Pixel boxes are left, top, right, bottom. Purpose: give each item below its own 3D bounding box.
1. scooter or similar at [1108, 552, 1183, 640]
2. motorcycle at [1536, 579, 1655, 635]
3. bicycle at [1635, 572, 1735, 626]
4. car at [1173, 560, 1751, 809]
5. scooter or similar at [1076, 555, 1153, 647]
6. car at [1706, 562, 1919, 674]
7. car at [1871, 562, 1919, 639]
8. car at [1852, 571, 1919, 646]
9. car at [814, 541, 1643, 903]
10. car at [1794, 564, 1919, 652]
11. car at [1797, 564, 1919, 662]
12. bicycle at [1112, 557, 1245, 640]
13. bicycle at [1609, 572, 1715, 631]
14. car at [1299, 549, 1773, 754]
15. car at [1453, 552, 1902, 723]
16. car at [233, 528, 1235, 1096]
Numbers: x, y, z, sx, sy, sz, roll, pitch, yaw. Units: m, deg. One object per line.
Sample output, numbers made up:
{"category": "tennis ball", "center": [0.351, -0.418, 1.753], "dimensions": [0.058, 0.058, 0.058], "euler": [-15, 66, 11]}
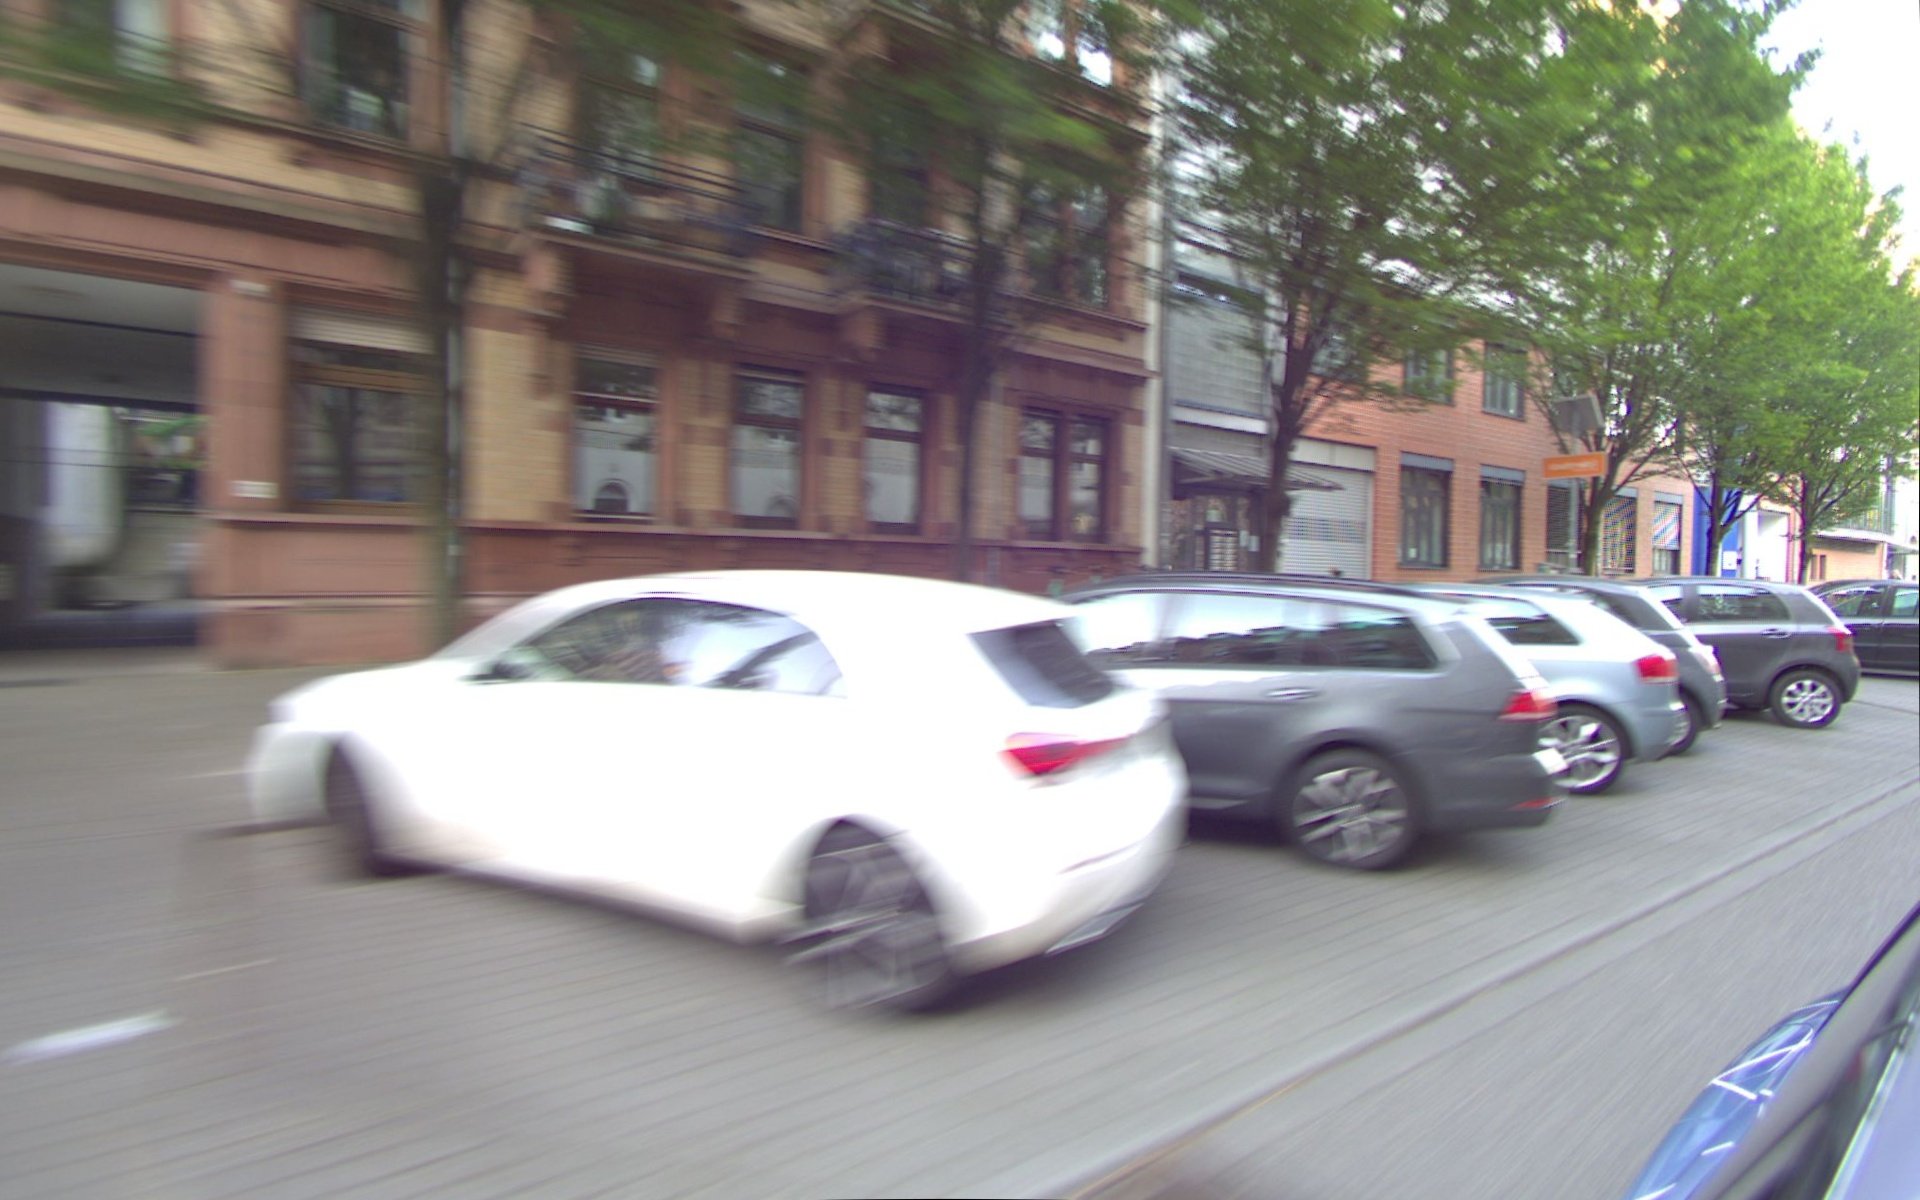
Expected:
{"category": "scooter or similar", "center": [2.806, -0.065, 15.318], "dimensions": [1.044, 1.297, 0.330], "euler": [-1, 0, -6]}
{"category": "motorcycle", "center": [12.721, 0.122, 20.334], "dimensions": [0.578, 0.937, 1.994], "euler": [1, 5, -22]}
{"category": "bicycle", "center": [17.132, -0.047, 23.948], "dimensions": [0.537, 1.113, 1.768], "euler": [-1, 6, -42]}
{"category": "car", "center": [3.669, 0.479, 7.980], "dimensions": [3.591, 1.437, 1.818], "euler": [4, 3, 23]}
{"category": "scooter or similar", "center": [2.234, 0.014, 14.677], "dimensions": [1.046, 1.297, 0.330], "euler": [-1, 0, 2]}
{"category": "car", "center": [14.778, 0.274, 16.674], "dimensions": [3.808, 1.584, 1.659], "euler": [4, 5, 33]}
{"category": "car", "center": [23.265, 0.088, 22.700], "dimensions": [3.799, 1.668, 1.663], "euler": [4, 4, 27]}
{"category": "car", "center": [21.230, 0.244, 20.893], "dimensions": [3.795, 1.447, 1.665], "euler": [4, 4, 25]}
{"category": "car", "center": [1.389, 0.484, 6.131], "dimensions": [4.117, 1.506, 1.821], "euler": [3, 3, 19]}
{"category": "car", "center": [19.036, 0.189, 19.786], "dimensions": [3.795, 1.584, 1.665], "euler": [4, 4, 25]}
{"category": "car", "center": [17.367, 0.269, 17.701], "dimensions": [3.795, 1.584, 1.665], "euler": [4, 4, 25]}
{"category": "bicycle", "center": [3.502, -0.049, 16.345], "dimensions": [2.012, 1.179, 0.573], "euler": [5, 4, 37]}
{"category": "bicycle", "center": [15.429, 0.014, 22.278], "dimensions": [0.537, 1.113, 1.768], "euler": [-1, 6, -42]}
{"category": "car", "center": [5.284, 0.352, 9.739], "dimensions": [3.597, 1.535, 1.610], "euler": [4, 3, 27]}
{"category": "car", "center": [7.764, 0.305, 11.429], "dimensions": [3.756, 1.535, 1.638], "euler": [3, 3, 22]}
{"category": "car", "center": [-0.949, 0.528, 4.363], "dimensions": [3.947, 1.506, 1.674], "euler": [3, 3, 21]}
